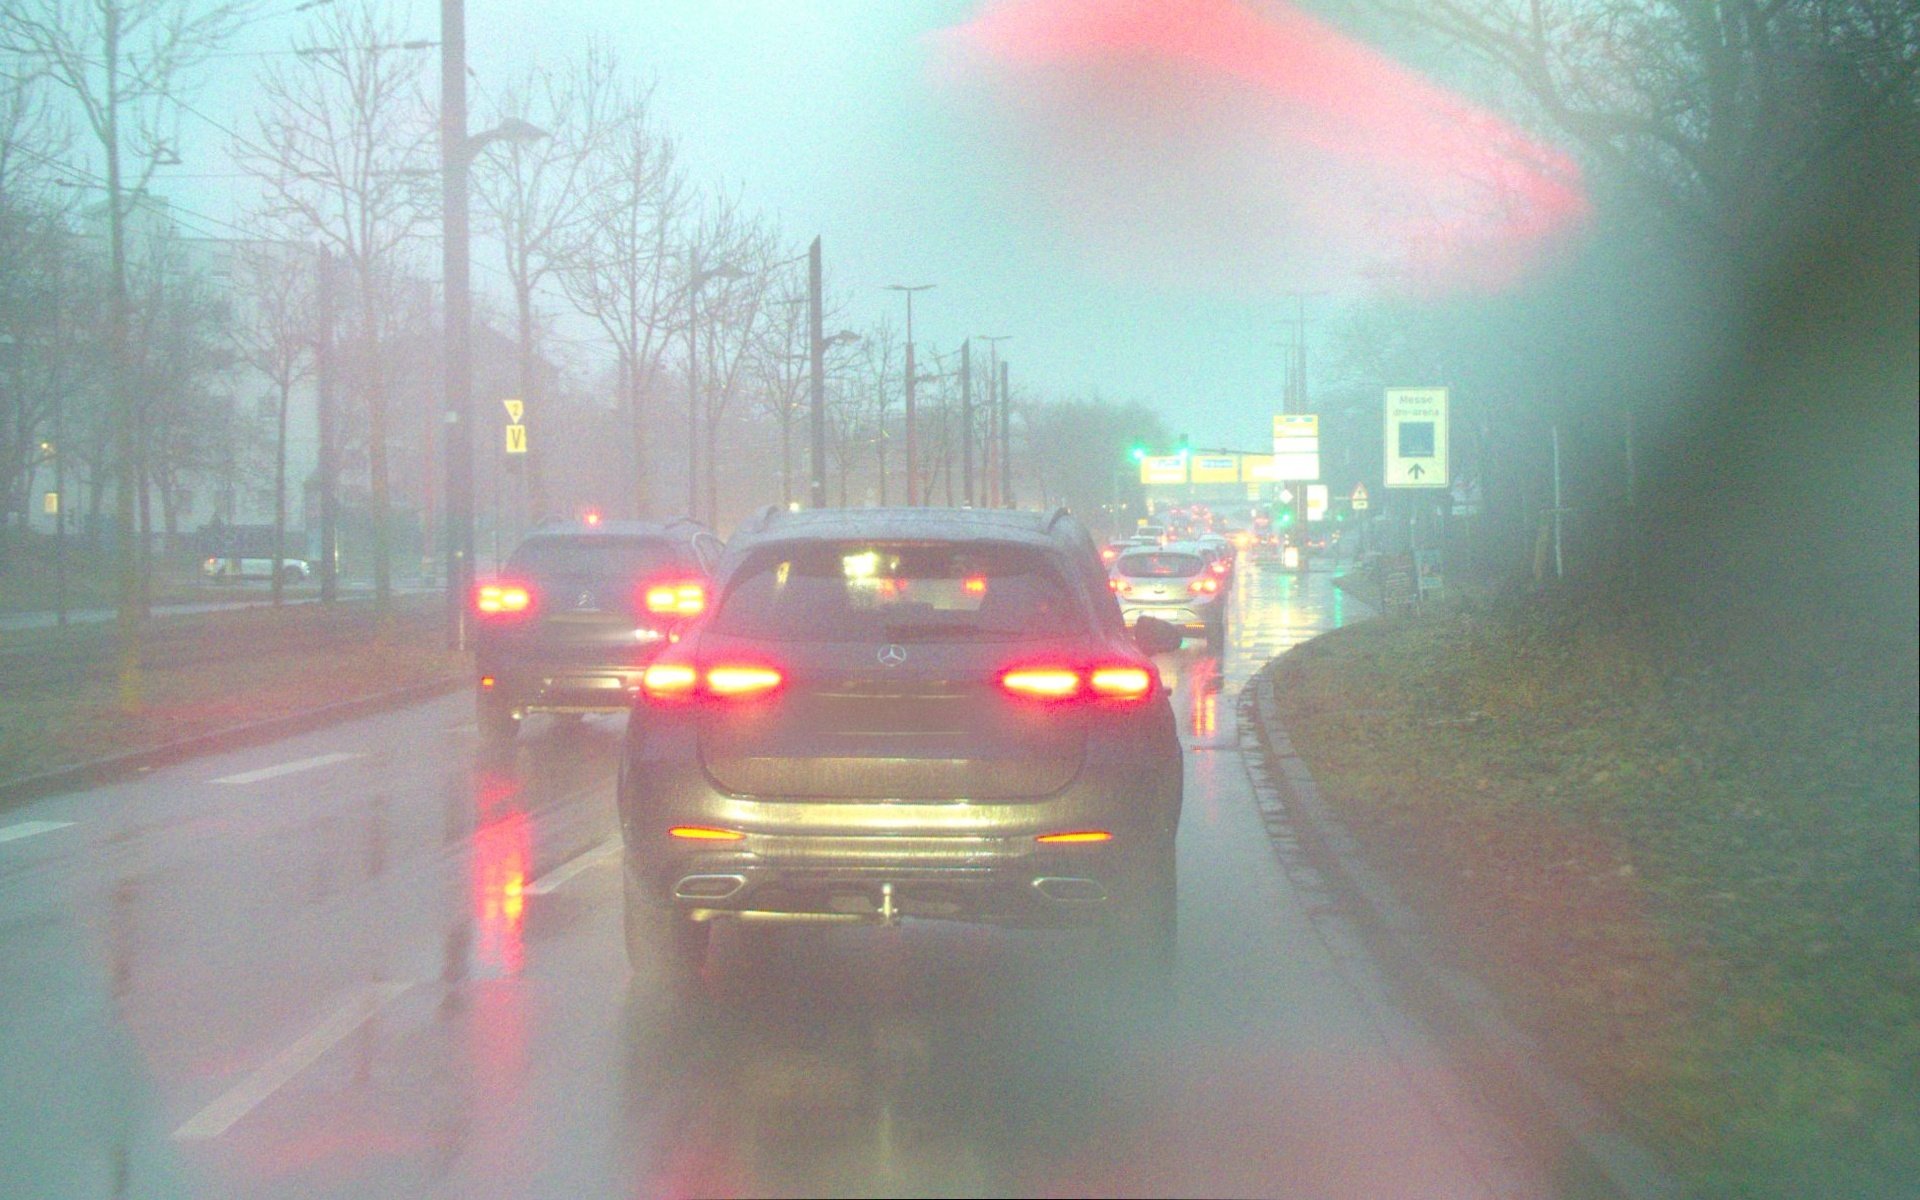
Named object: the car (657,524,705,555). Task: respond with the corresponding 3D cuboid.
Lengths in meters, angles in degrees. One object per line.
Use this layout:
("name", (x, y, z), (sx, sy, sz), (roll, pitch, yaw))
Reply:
("car", (-15.452, -3.372, 190.815), (1.994, 1.652, 3.999), (1, 1, 5))

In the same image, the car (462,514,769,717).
("car", (-2.602, 0.062, 26.836), (1.880, 1.454, 4.000), (0, 1, 2))

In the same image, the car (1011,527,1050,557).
("car", (4.082, -3.358, 198.581), (1.994, 1.660, 3.836), (0, 1, 5))

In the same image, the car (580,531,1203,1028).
("car", (-0.226, 0.541, 13.084), (1.998, 1.578, 4.000), (0, 1, 0))

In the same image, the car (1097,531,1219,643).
("car", (2.870, -0.212, 50.048), (1.709, 1.552, 3.996), (0, 1, 3))
